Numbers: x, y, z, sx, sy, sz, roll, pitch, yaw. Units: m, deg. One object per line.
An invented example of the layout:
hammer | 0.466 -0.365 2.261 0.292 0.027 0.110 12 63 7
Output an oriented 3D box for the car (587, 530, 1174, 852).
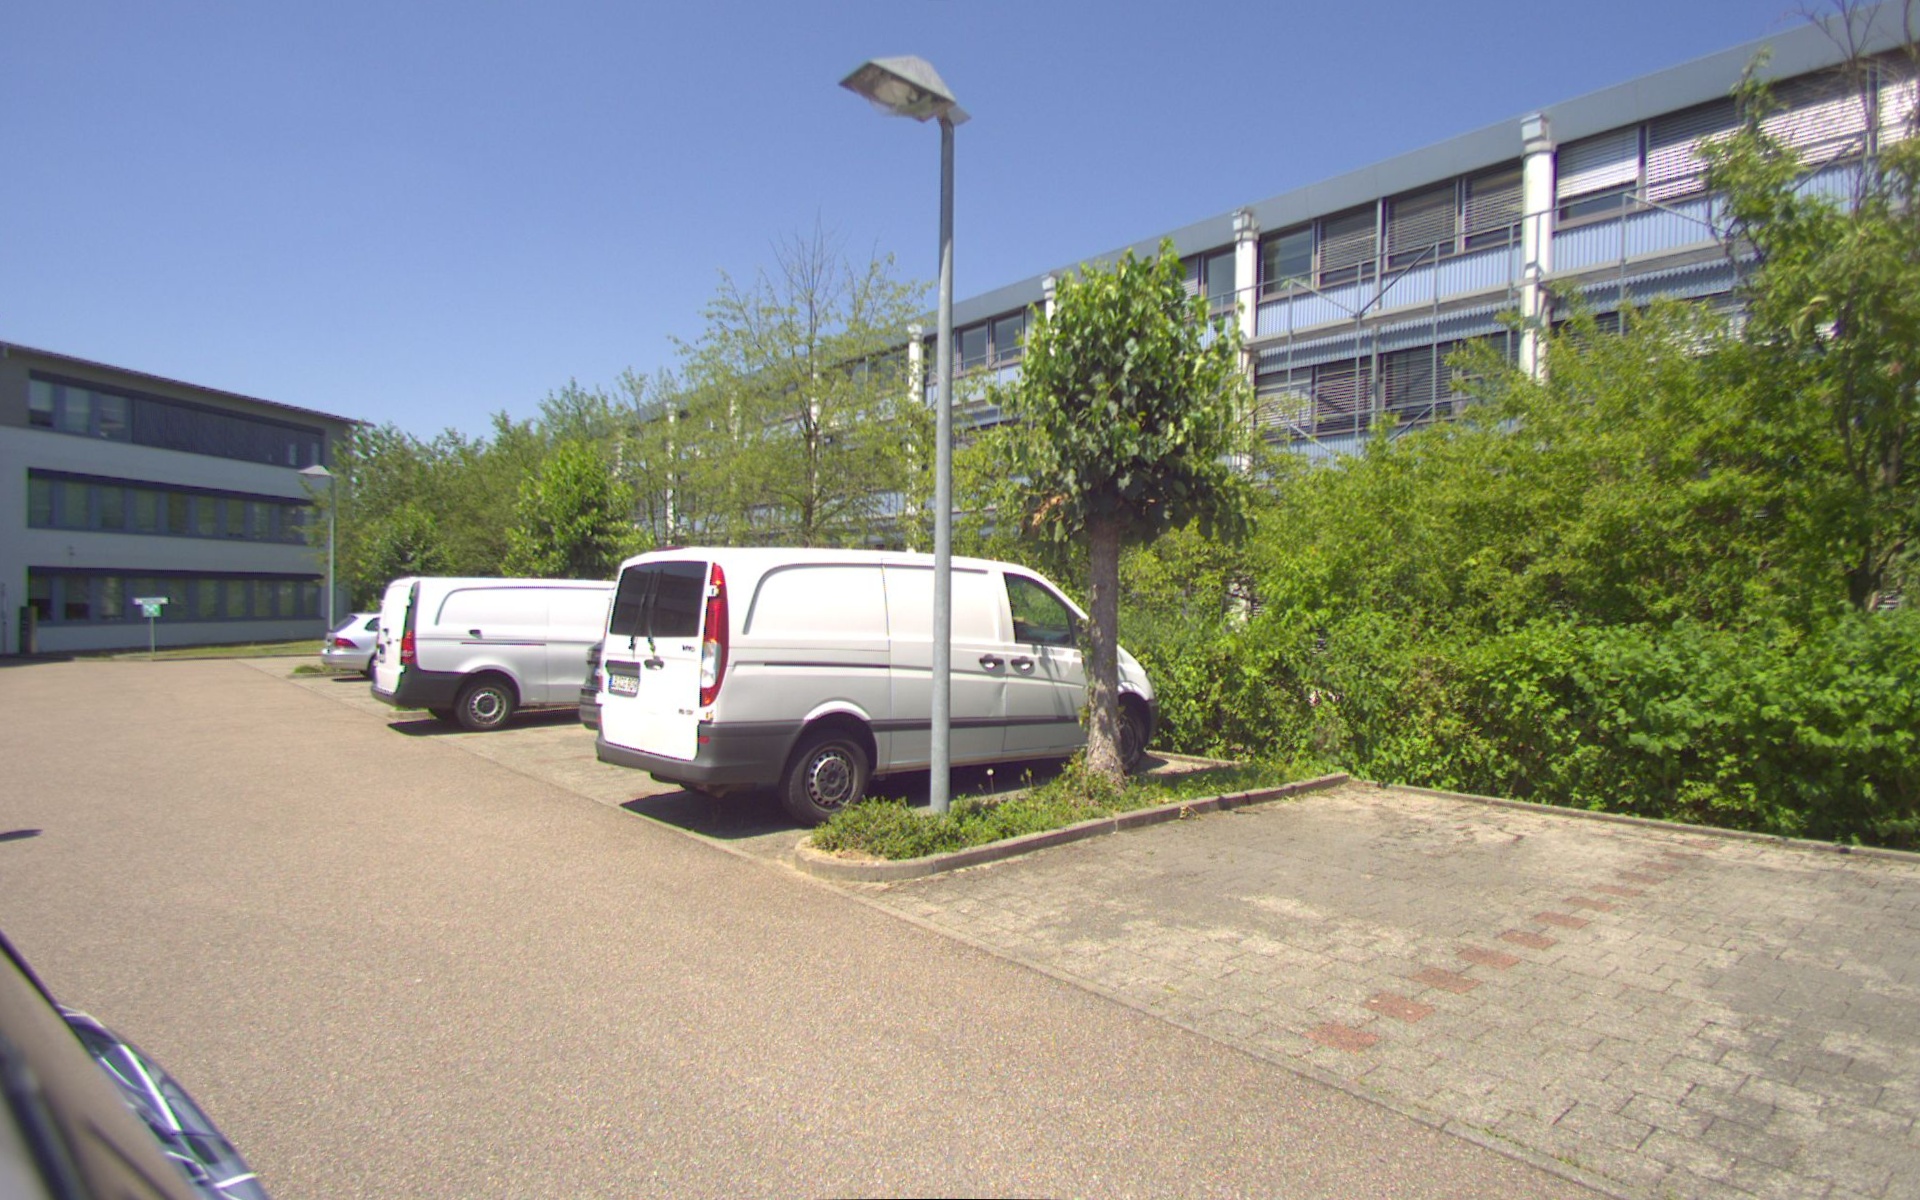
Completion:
car | -0.402 0.553 8.295 4.663 1.920 1.832 0 -1 -42

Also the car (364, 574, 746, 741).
car | -5.325 0.665 13.690 4.451 1.896 1.831 0 -1 -42

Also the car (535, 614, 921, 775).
car | -2.373 0.872 10.924 3.792 1.404 1.578 0 -1 -42

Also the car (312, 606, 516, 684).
car | -12.054 0.928 22.471 3.707 1.569 1.663 0 -1 -42
